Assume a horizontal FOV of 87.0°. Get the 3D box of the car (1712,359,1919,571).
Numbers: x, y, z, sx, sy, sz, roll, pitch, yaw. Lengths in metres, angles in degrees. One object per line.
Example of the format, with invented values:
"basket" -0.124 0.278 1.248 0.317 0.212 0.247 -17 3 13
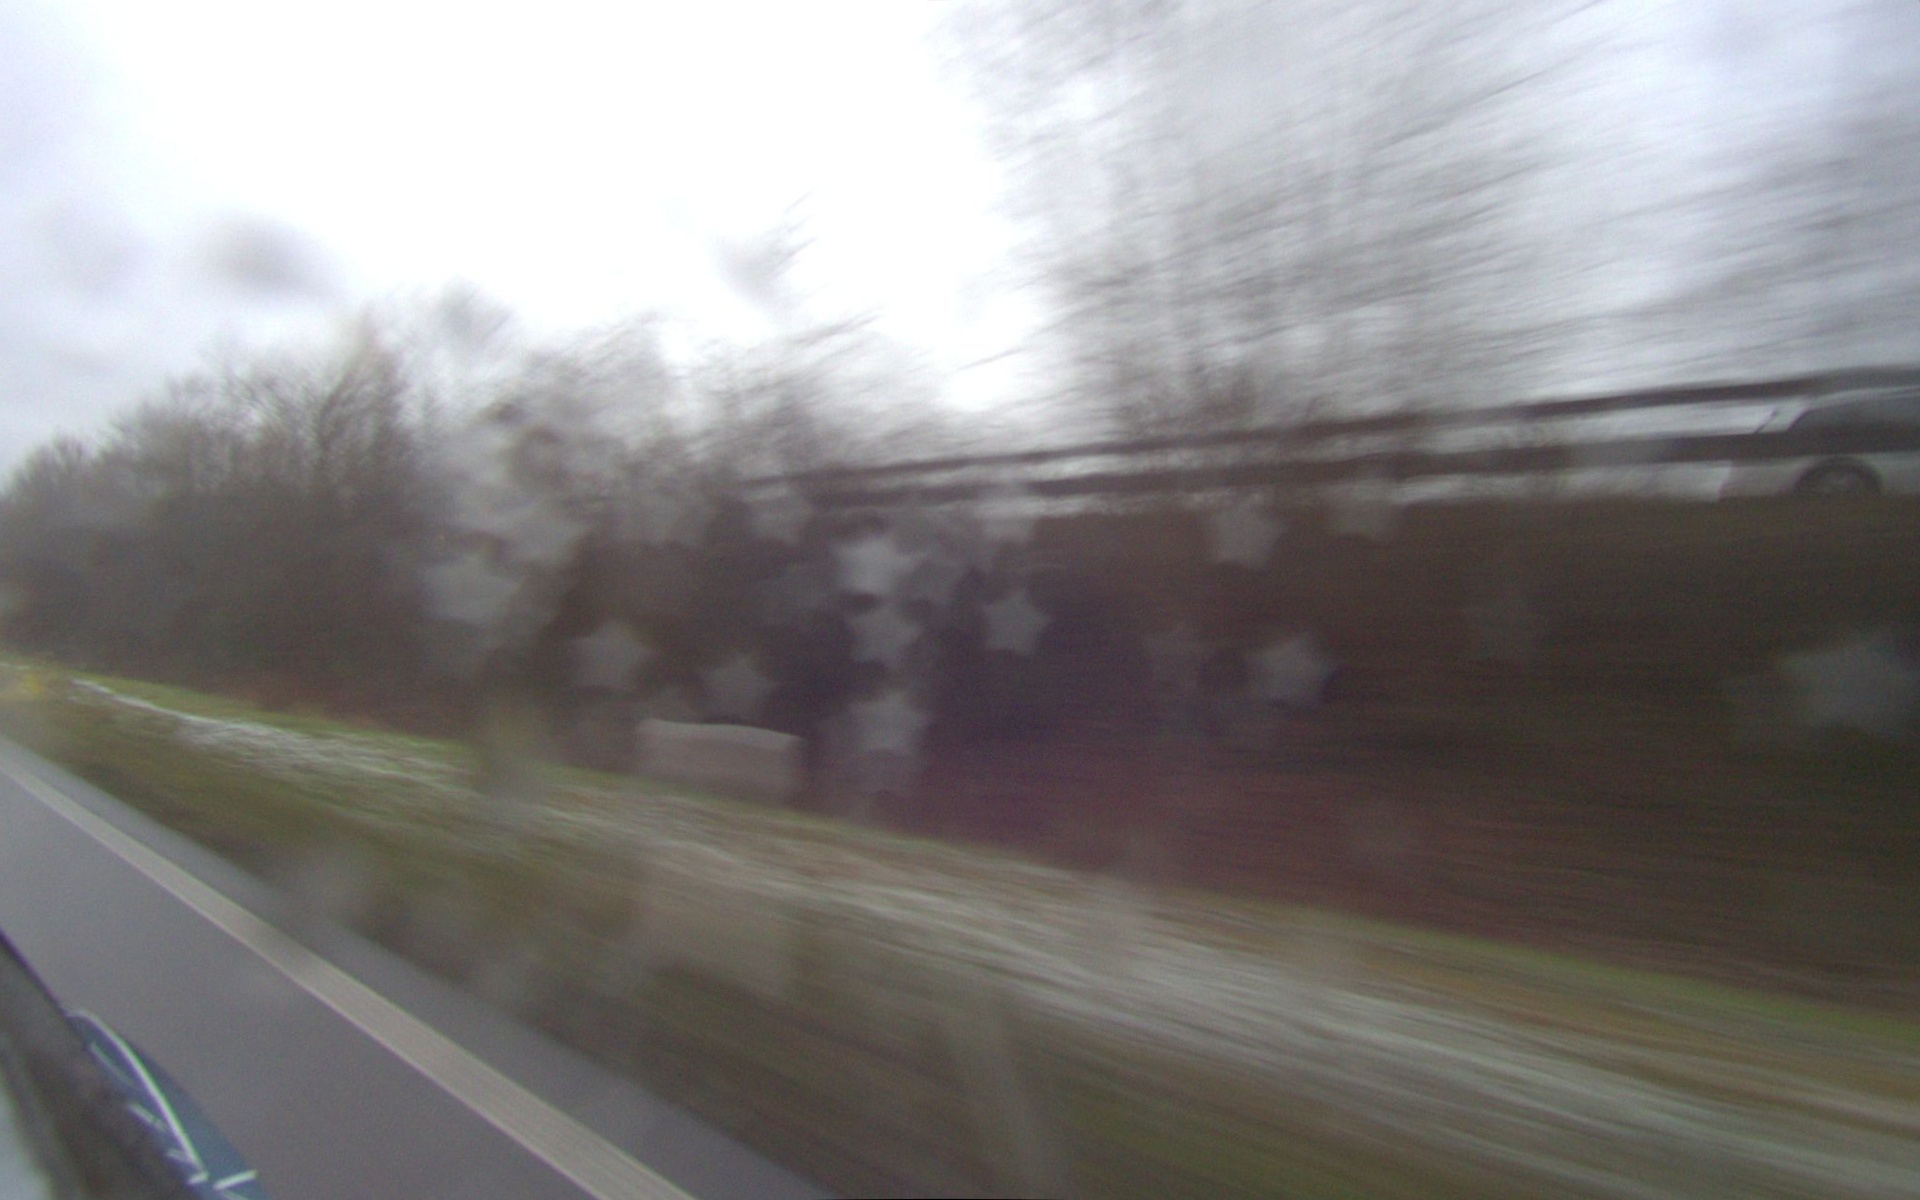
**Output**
"car" 10.482 -1.336 9.866 1.972 2.027 4.756 -8 9 -45
